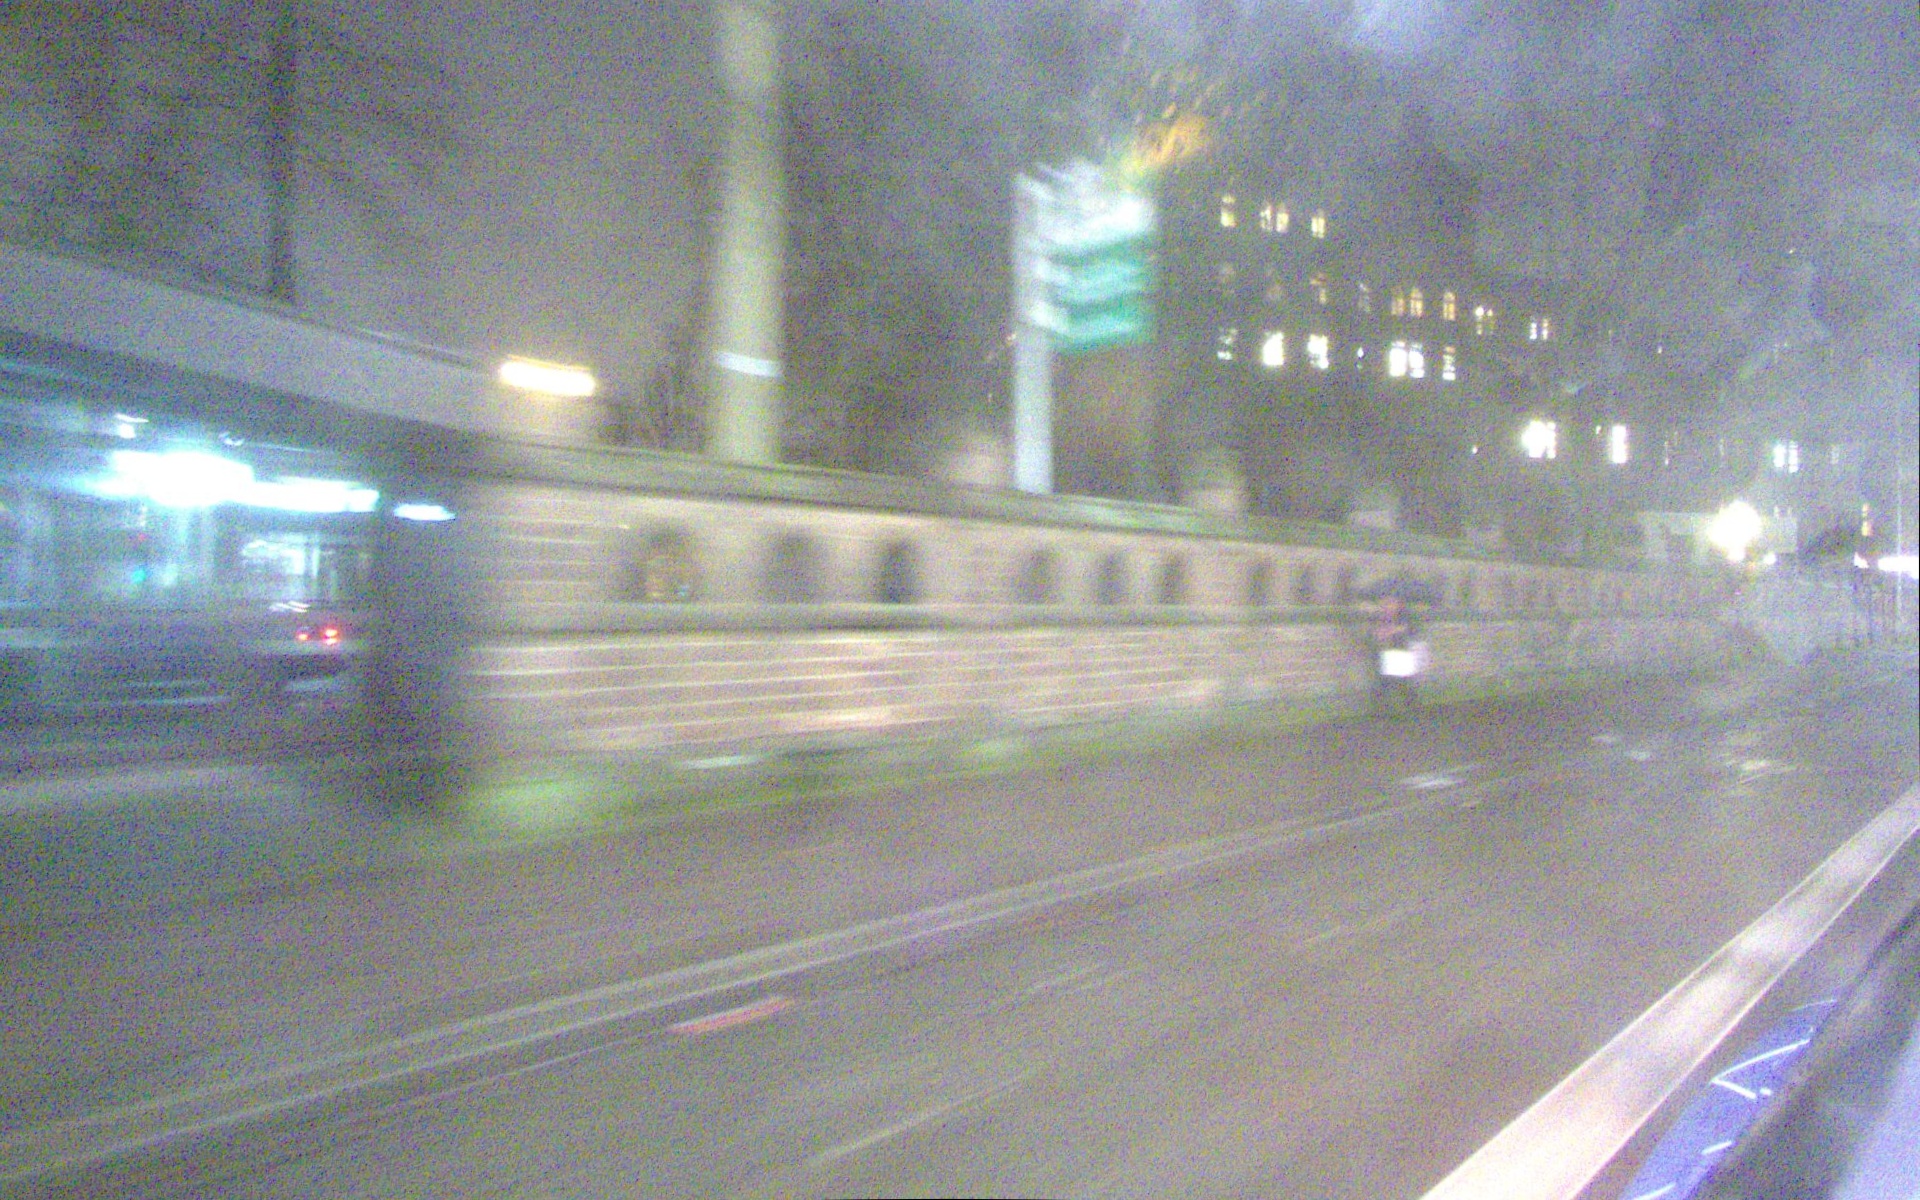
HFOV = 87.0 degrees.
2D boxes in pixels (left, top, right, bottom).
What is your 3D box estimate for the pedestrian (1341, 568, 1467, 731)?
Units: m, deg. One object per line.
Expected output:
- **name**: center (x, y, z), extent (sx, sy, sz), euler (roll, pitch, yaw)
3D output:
- **pedestrian**: center (4.955, 0.510, 11.302), extent (0.978, 1.684, 0.940), euler (1, 2, -44)
